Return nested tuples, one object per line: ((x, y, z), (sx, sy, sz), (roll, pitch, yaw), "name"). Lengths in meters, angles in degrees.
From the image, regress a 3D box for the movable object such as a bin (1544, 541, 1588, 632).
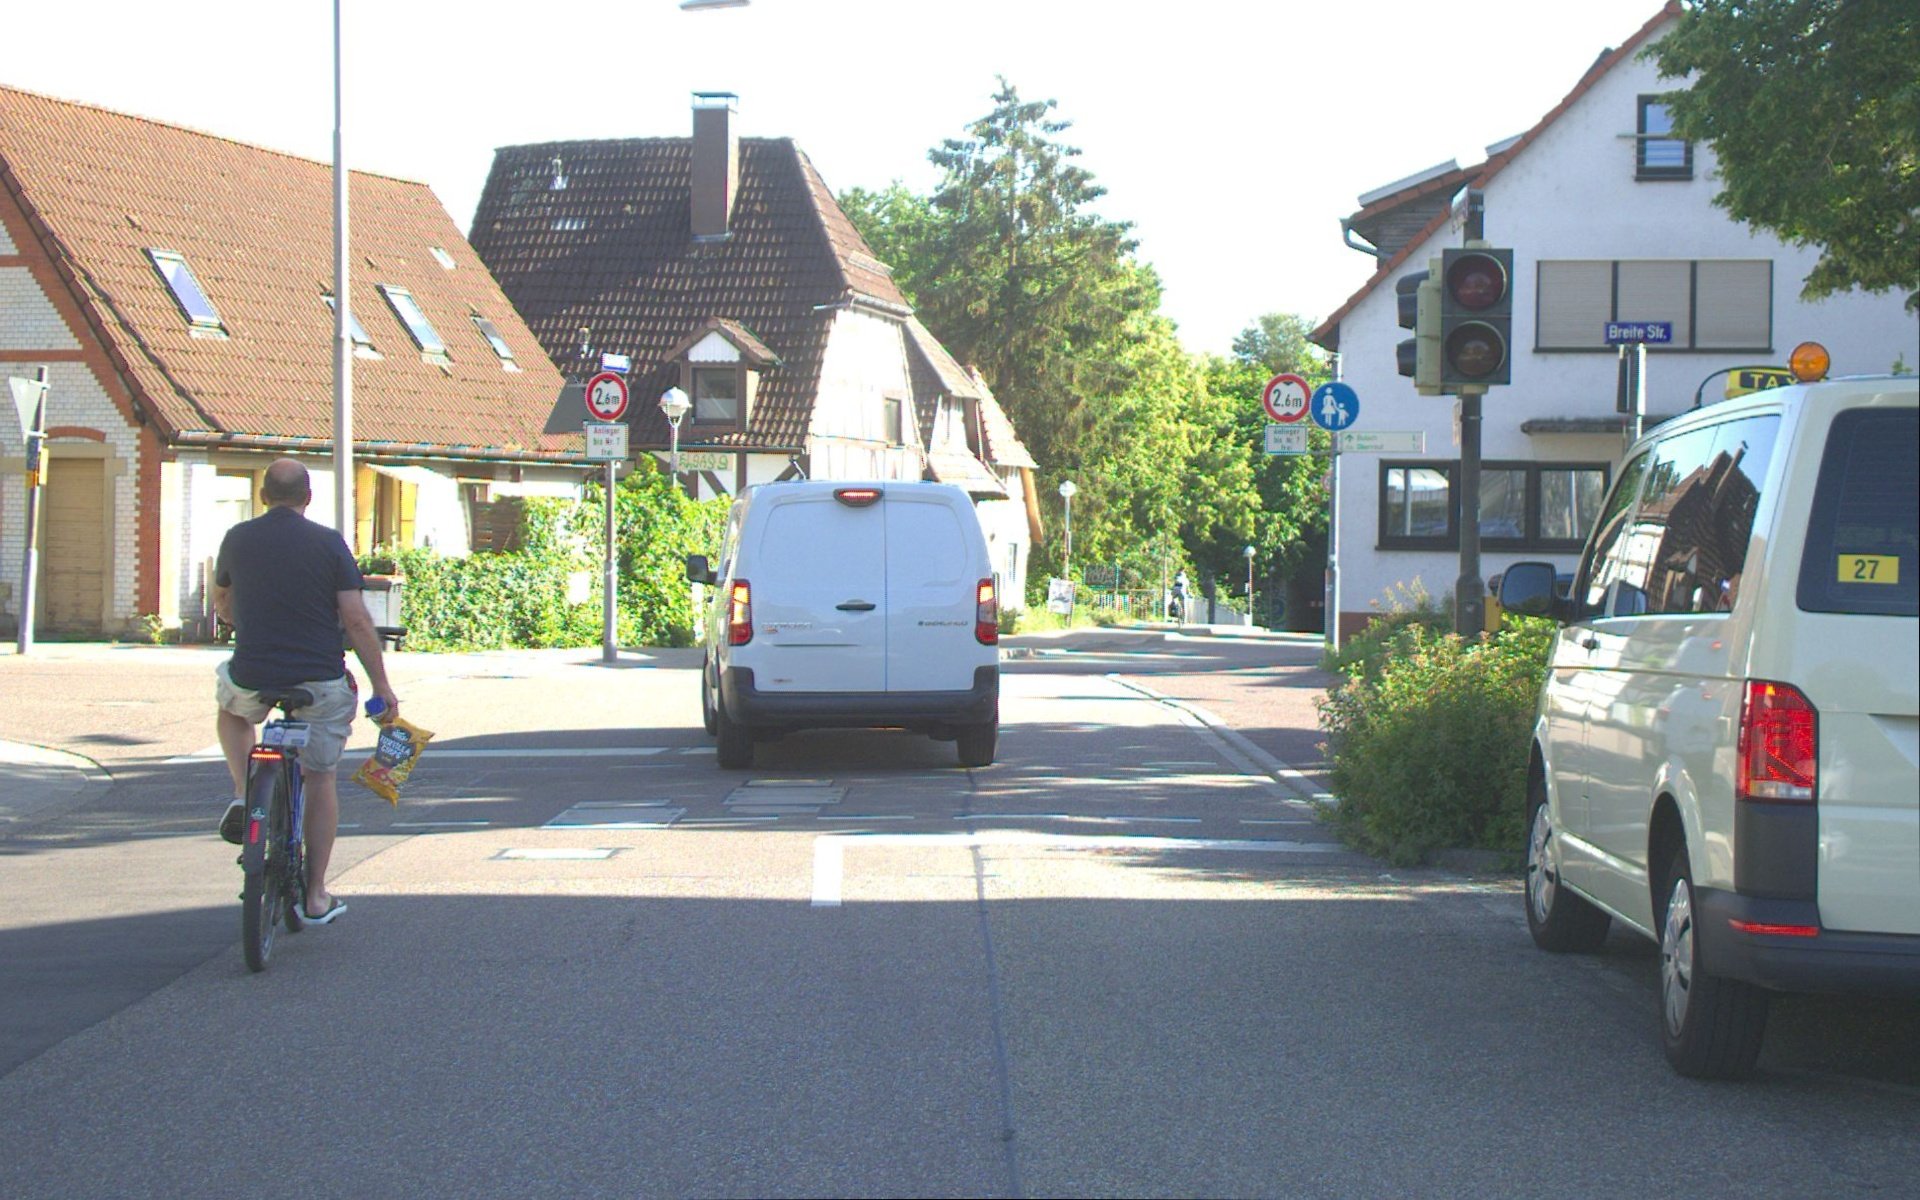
((7.637, -0.177, 43.340), (0.527, 1.119, 0.748), (1, 1, 10), "movable object such as a bin")

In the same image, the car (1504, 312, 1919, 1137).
((3.020, 0.308, 10.936), (1.994, 2.072, 4.577), (1, 1, 3), "car")

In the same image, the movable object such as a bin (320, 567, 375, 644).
((-7.578, 0.066, 42.554), (0.411, 0.921, 0.625), (1, 1, 18), "movable object such as a bin")

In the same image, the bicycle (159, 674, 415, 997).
((-2.362, 0.787, 12.287), (0.774, 0.937, 2.291), (0, 1, -8), "bicycle")

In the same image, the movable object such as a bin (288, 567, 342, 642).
((-8.005, 0.056, 42.688), (0.412, 0.902, 0.625), (1, 2, 18), "movable object such as a bin")

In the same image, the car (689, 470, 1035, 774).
((-0.773, 0.054, 23.201), (1.957, 1.841, 4.561), (0, 2, -6), "car")

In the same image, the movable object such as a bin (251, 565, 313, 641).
((-8.459, 0.036, 42.872), (0.508, 0.921, 0.625), (1, 2, 18), "movable object such as a bin")

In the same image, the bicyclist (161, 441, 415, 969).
((-2.369, 0.346, 12.212), (0.764, 1.782, 0.853), (-2, 2, -8), "bicyclist")

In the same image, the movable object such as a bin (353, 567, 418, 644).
((-7.084, 0.068, 42.392), (0.556, 0.921, 0.625), (1, 2, 18), "movable object such as a bin")
